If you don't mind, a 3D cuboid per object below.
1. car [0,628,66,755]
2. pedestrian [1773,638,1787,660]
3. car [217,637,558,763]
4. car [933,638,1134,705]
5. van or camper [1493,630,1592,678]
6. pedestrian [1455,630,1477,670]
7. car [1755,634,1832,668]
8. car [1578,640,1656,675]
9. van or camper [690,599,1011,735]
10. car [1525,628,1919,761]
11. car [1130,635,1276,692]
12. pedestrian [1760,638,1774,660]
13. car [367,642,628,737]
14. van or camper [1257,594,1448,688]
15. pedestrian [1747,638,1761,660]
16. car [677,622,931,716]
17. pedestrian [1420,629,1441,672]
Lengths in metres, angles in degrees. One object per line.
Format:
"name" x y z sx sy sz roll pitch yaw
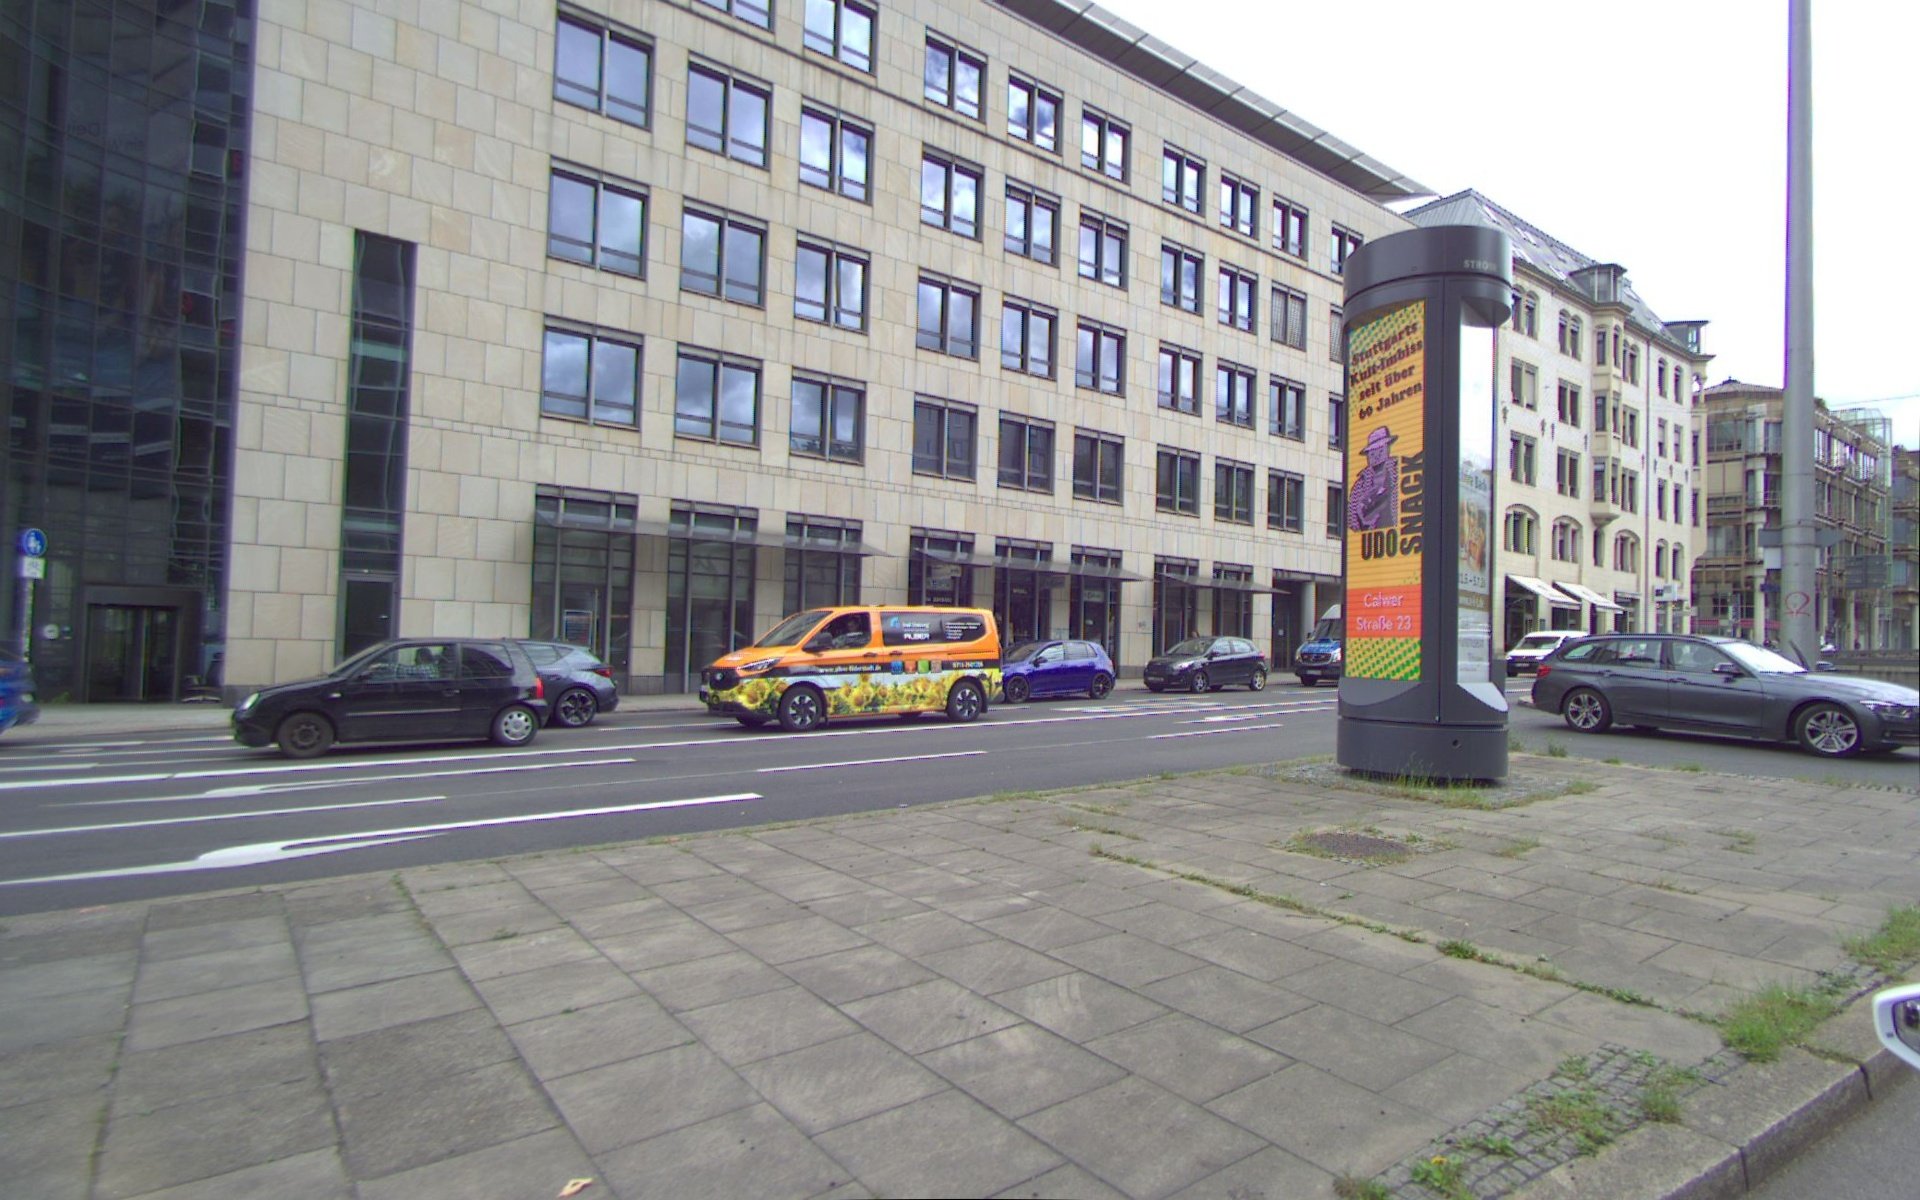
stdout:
"car" -13.586 1.086 12.006 4.050 1.545 1.981 2 -2 -35
"pedestrian" 60.316 3.605 73.906 0.841 1.564 0.693 2 -2 -44
"car" -7.195 1.185 12.816 3.597 1.397 1.546 2 -3 -35
"car" 1.786 1.631 23.698 4.528 1.414 1.980 2 -2 -35
"van or camper" 23.074 2.101 39.735 4.446 1.775 1.854 2 -2 -38
"pedestrian" 20.435 2.014 40.580 0.674 1.597 0.548 2 -1 -37
"car" 39.791 2.411 47.916 4.500 1.547 1.904 2 -2 -37
"car" 28.594 2.457 43.699 3.551 1.424 1.774 2 -2 -38
"van or camper" -1.686 1.069 16.609 5.036 1.946 1.900 2 -4 -37
"car" 10.513 1.146 13.816 1.857 1.477 4.533 2 -2 -27
"car" 6.721 1.723 27.646 3.992 1.467 1.757 2 -4 -37
"pedestrian" 59.788 3.622 74.448 0.841 1.564 0.693 2 -2 -44
"car" -7.363 1.368 16.112 3.597 1.359 1.546 2 -3 -35
"van or camper" 12.800 1.303 32.580 6.186 2.762 2.981 2 -2 -36
"pedestrian" 59.269 3.646 75.001 0.841 1.564 0.693 2 -2 -44
"car" -3.033 1.334 19.992 4.639 1.667 1.980 2 -4 -37
"pedestrian" 19.668 2.097 41.984 0.674 1.776 0.548 2 -1 -37
